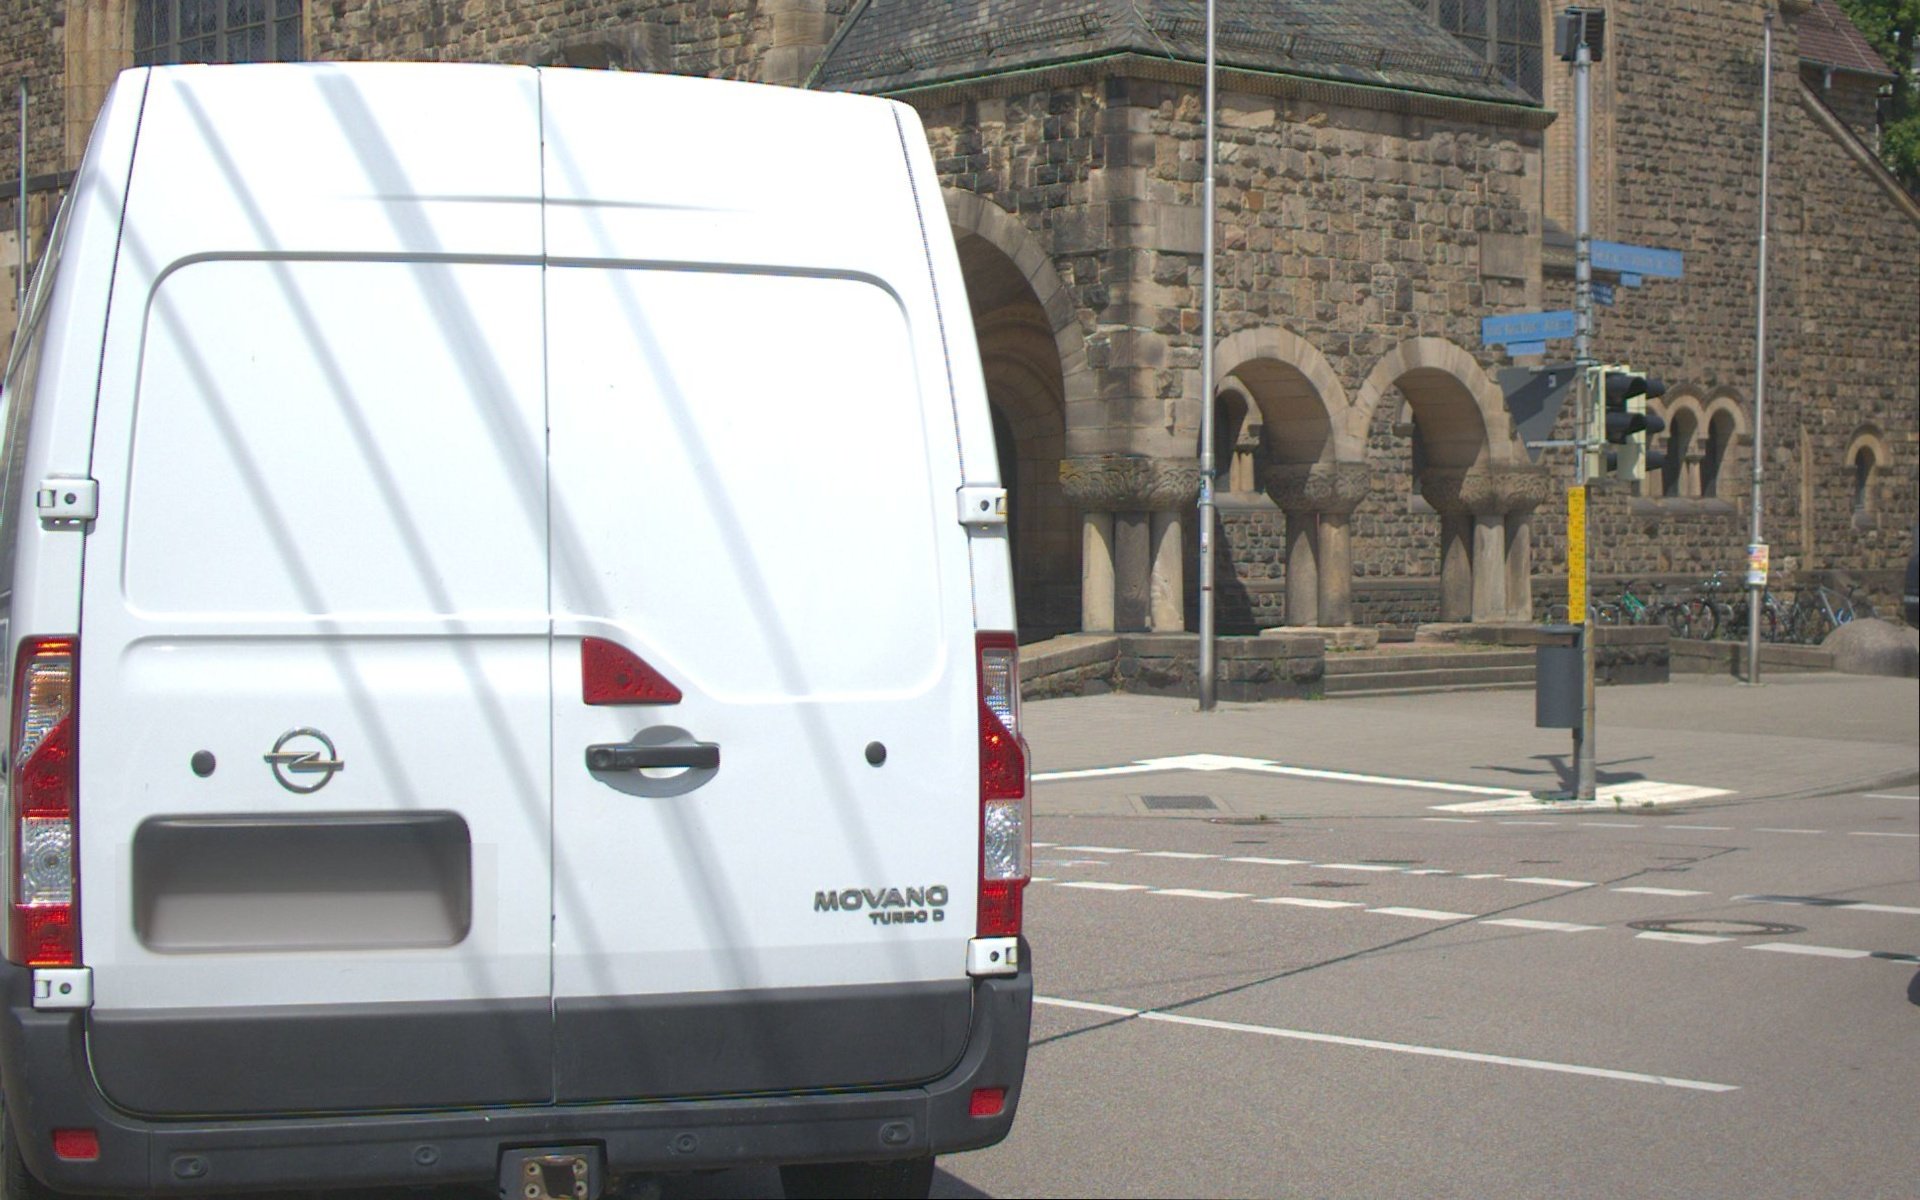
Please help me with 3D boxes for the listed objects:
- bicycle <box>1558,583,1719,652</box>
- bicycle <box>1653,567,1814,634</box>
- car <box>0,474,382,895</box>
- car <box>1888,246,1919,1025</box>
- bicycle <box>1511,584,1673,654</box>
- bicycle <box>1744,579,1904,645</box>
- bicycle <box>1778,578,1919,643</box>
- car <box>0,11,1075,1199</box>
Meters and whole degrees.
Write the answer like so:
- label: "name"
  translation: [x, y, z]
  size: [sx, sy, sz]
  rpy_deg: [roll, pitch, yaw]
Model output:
- label: "bicycle"
  translation: [10.278, 0.249, 52.176]
  size: [0.704, 1.008, 2.497]
  rpy_deg: [-1, 1, -41]
- label: "bicycle"
  translation: [11.896, -0.006, 52.955]
  size: [0.704, 1.008, 2.497]
  rpy_deg: [-1, 1, -41]
- label: "car"
  translation: [-4.642, 0.384, 18.129]
  size: [1.916, 1.937, 4.264]
  rpy_deg: [0, 0, -28]
- label: "car"
  translation: [5.410, 0.054, 14.262]
  size: [2.073, 2.628, 6.626]
  rpy_deg: [0, 1, 23]
- label: "bicycle"
  translation: [9.429, 0.271, 51.370]
  size: [0.704, 1.008, 2.497]
  rpy_deg: [-1, 1, -41]
- label: "bicycle"
  translation: [13.655, 0.179, 54.415]
  size: [0.704, 1.008, 2.497]
  rpy_deg: [-1, 1, -41]
- label: "bicycle"
  translation: [14.375, 0.160, 55.132]
  size: [0.704, 1.008, 2.497]
  rpy_deg: [-1, 1, -41]
- label: "car"
  translation: [-1.555, 0.169, 8.819]
  size: [2.116, 2.451, 5.055]
  rpy_deg: [0, 0, -18]
